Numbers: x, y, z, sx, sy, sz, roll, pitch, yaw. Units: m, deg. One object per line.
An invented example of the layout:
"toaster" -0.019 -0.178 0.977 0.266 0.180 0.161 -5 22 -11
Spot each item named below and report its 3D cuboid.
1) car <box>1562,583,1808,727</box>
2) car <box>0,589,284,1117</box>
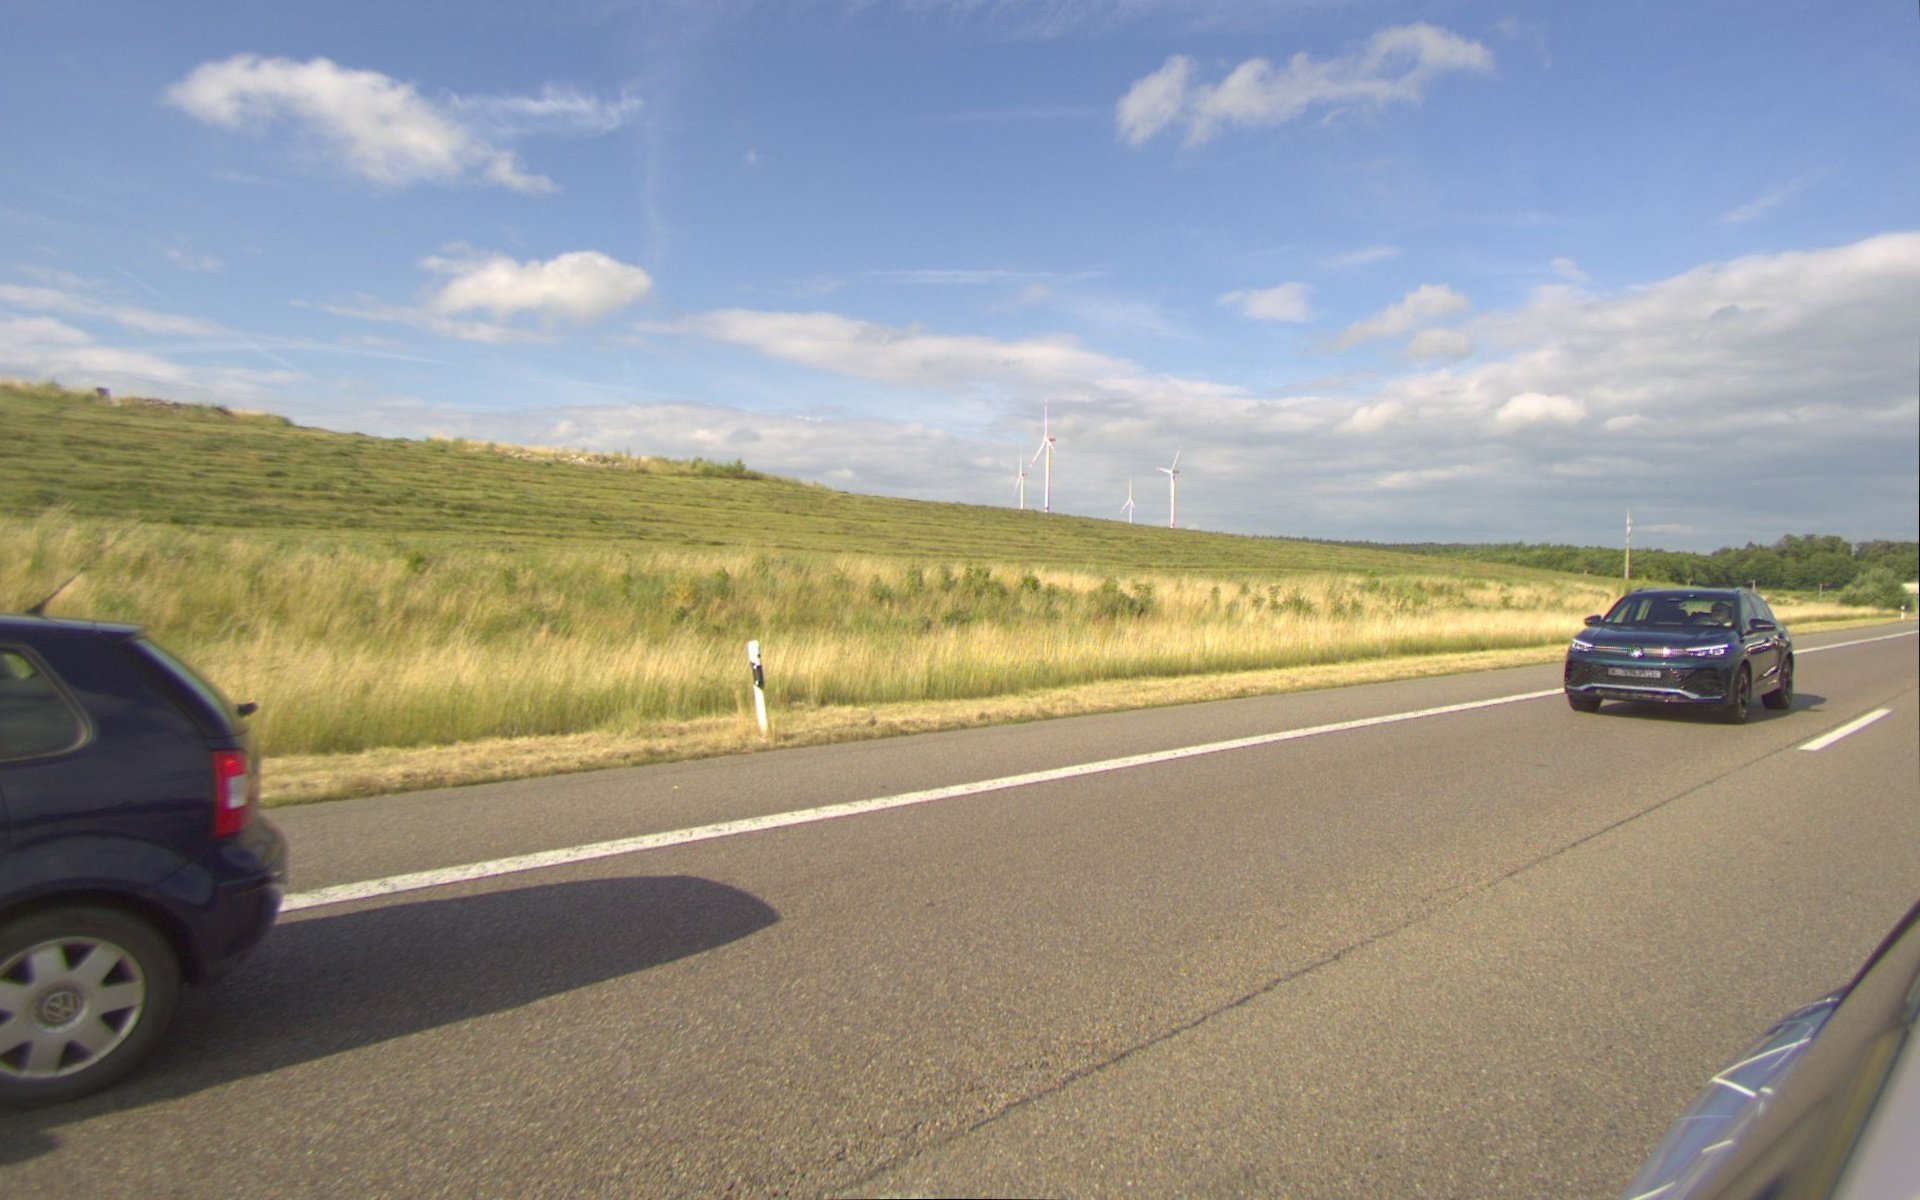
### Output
"car" 9.730 0.594 13.463 4.162 1.621 1.823 -1 1 -42
"car" -4.010 0.701 2.605 3.609 1.438 1.608 -1 1 -41
